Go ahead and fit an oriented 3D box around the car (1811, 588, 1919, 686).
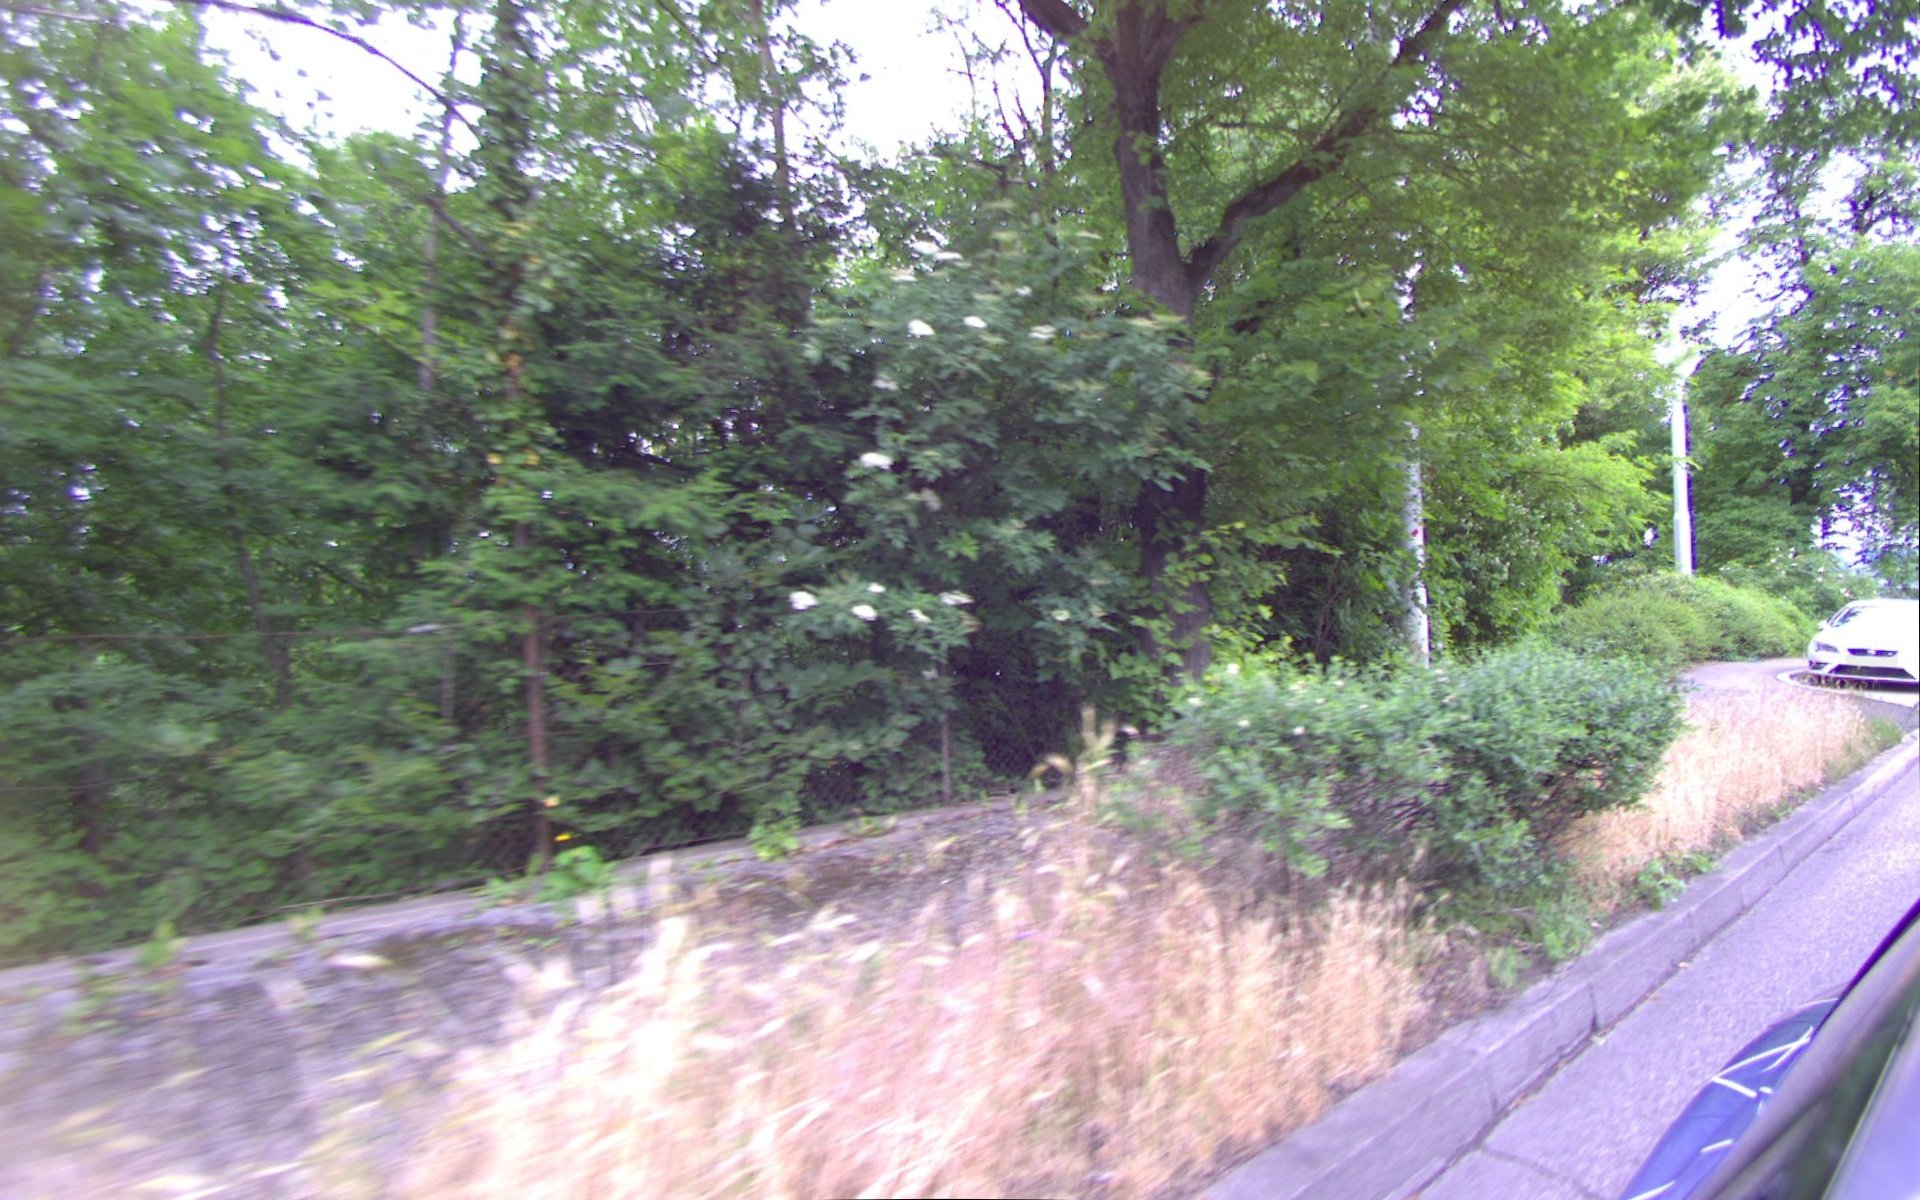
[{"bbox_3d":[15.902,0.596,17.046,3.823,1.459,1.764,1,1,-40],"label":"car"}]
